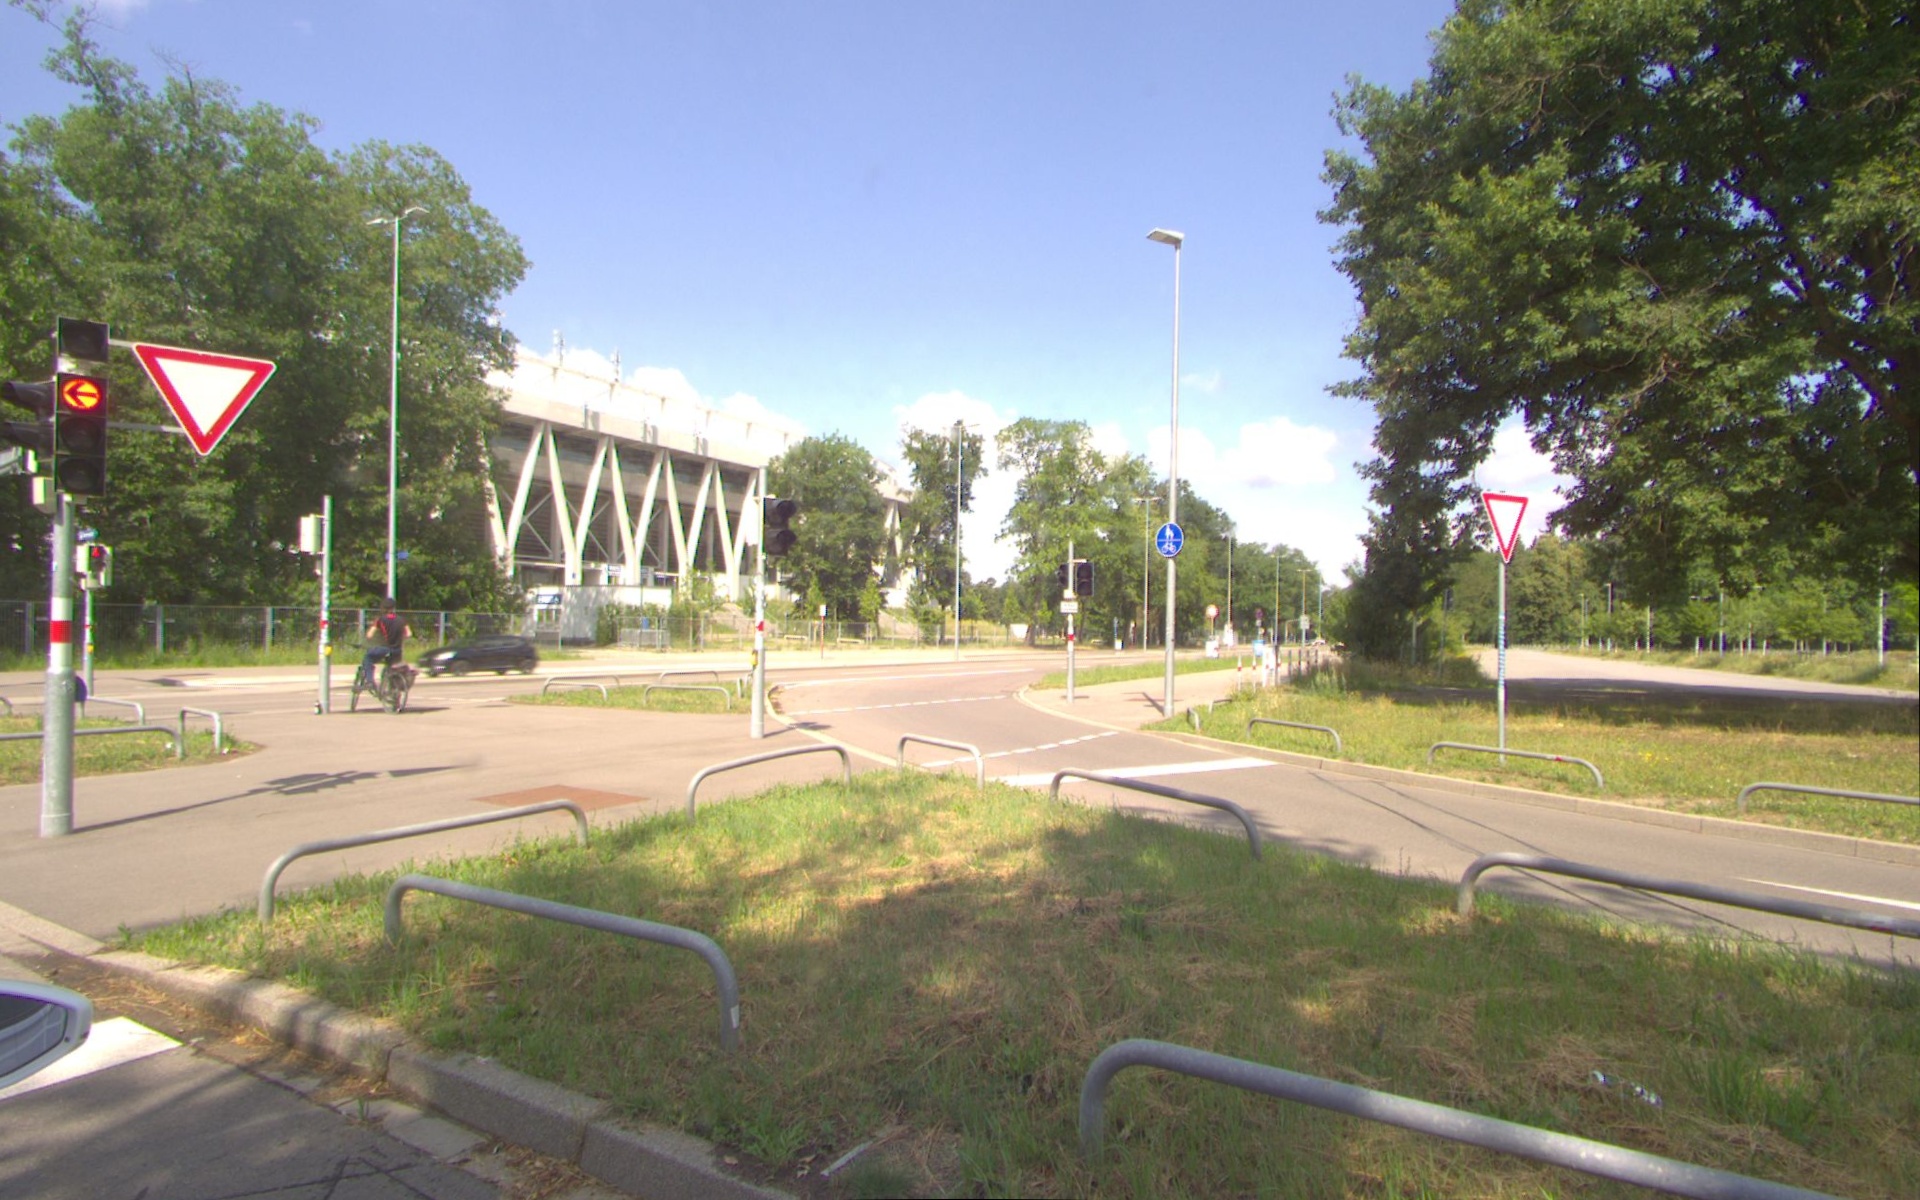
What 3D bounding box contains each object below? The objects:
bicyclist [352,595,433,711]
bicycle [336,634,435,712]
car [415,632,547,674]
[{"bbox_3d":[-9.307,0.855,16.426,0.967,1.820,0.881,-1,-2,40],"label":"bicyclist"},{"bbox_3d":[-9.531,1.171,16.592,1.876,1.221,0.876,-2,-2,42],"label":"bicycle"},{"bbox_3d":[-16.642,1.807,34.947,1.580,1.395,3.956,-1,-2,32],"label":"car"}]
